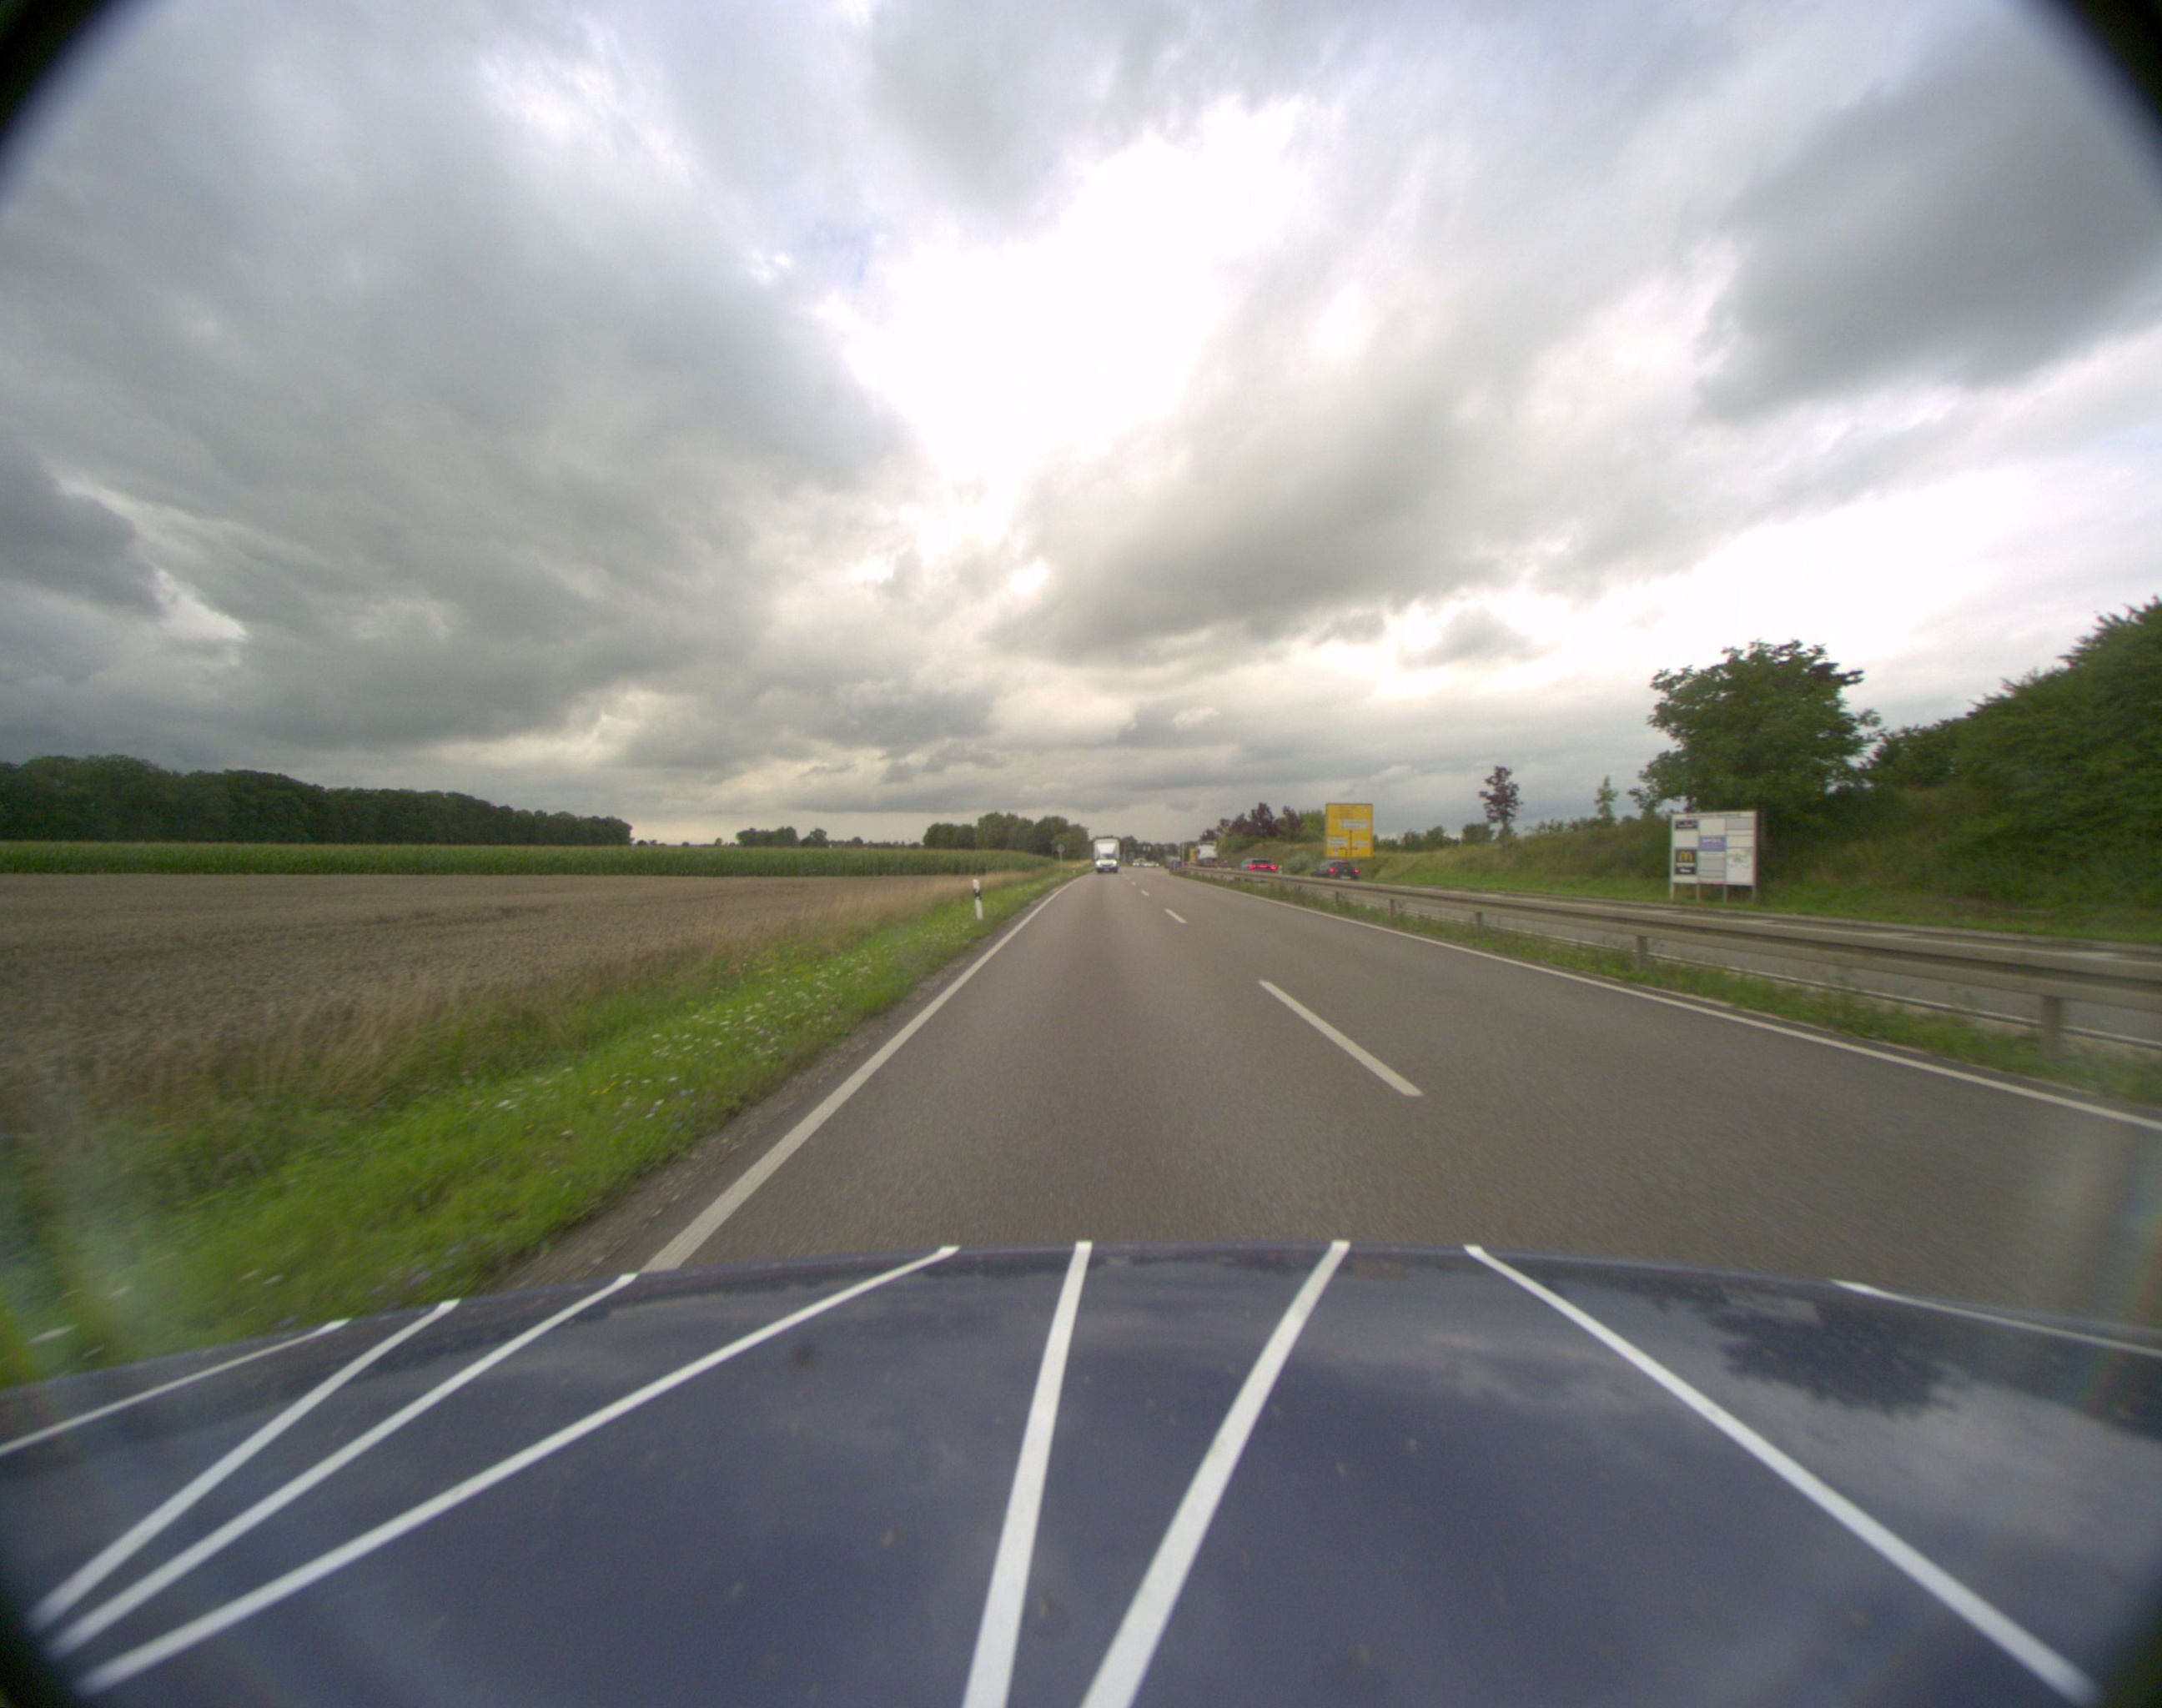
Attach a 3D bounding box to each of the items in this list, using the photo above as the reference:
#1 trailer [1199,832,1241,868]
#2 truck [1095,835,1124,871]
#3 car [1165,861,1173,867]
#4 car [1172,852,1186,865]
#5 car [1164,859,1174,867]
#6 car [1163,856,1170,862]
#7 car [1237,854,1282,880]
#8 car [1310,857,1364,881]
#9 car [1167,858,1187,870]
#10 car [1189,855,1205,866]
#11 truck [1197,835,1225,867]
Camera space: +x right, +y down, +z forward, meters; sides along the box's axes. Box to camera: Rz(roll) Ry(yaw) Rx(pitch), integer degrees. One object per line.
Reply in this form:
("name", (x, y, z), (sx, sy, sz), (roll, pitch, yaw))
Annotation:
("trailer", (16.118, -0.380, 89.043), (2.782, 3.923, 12.987), (0, -1, 1))
("truck", (3.098, -0.097, 81.600), (2.934, 3.652, 8.445), (0, -1, 2))
("car", (22.978, 2.593, 198.199), (1.798, 1.624, 4.518), (2, 0, 4))
("car", (18.932, 0.829, 147.311), (2.038, 2.425, 5.636), (2, 0, 2))
("car", (19.056, 1.960, 164.480), (1.736, 1.521, 4.194), (1, 0, 2))
("car", (25.380, 1.503, 224.895), (1.798, 1.502, 4.707), (2, 0, 4))
("car", (10.598, 0.772, 45.522), (1.758, 1.477, 4.577), (0, -1, 2))
("car", (14.364, 0.834, 42.886), (1.695, 1.316, 4.417), (0, -1, 2))
("car", (12.080, 1.242, 95.870), (2.090, 1.510, 4.194), (0, -1, 3))
("car", (17.274, 0.946, 113.443), (1.736, 1.521, 4.194), (1, 0, 2))
("truck", (16.271, -0.351, 95.627), (2.809, 3.973, 5.287), (0, 0, 2))
